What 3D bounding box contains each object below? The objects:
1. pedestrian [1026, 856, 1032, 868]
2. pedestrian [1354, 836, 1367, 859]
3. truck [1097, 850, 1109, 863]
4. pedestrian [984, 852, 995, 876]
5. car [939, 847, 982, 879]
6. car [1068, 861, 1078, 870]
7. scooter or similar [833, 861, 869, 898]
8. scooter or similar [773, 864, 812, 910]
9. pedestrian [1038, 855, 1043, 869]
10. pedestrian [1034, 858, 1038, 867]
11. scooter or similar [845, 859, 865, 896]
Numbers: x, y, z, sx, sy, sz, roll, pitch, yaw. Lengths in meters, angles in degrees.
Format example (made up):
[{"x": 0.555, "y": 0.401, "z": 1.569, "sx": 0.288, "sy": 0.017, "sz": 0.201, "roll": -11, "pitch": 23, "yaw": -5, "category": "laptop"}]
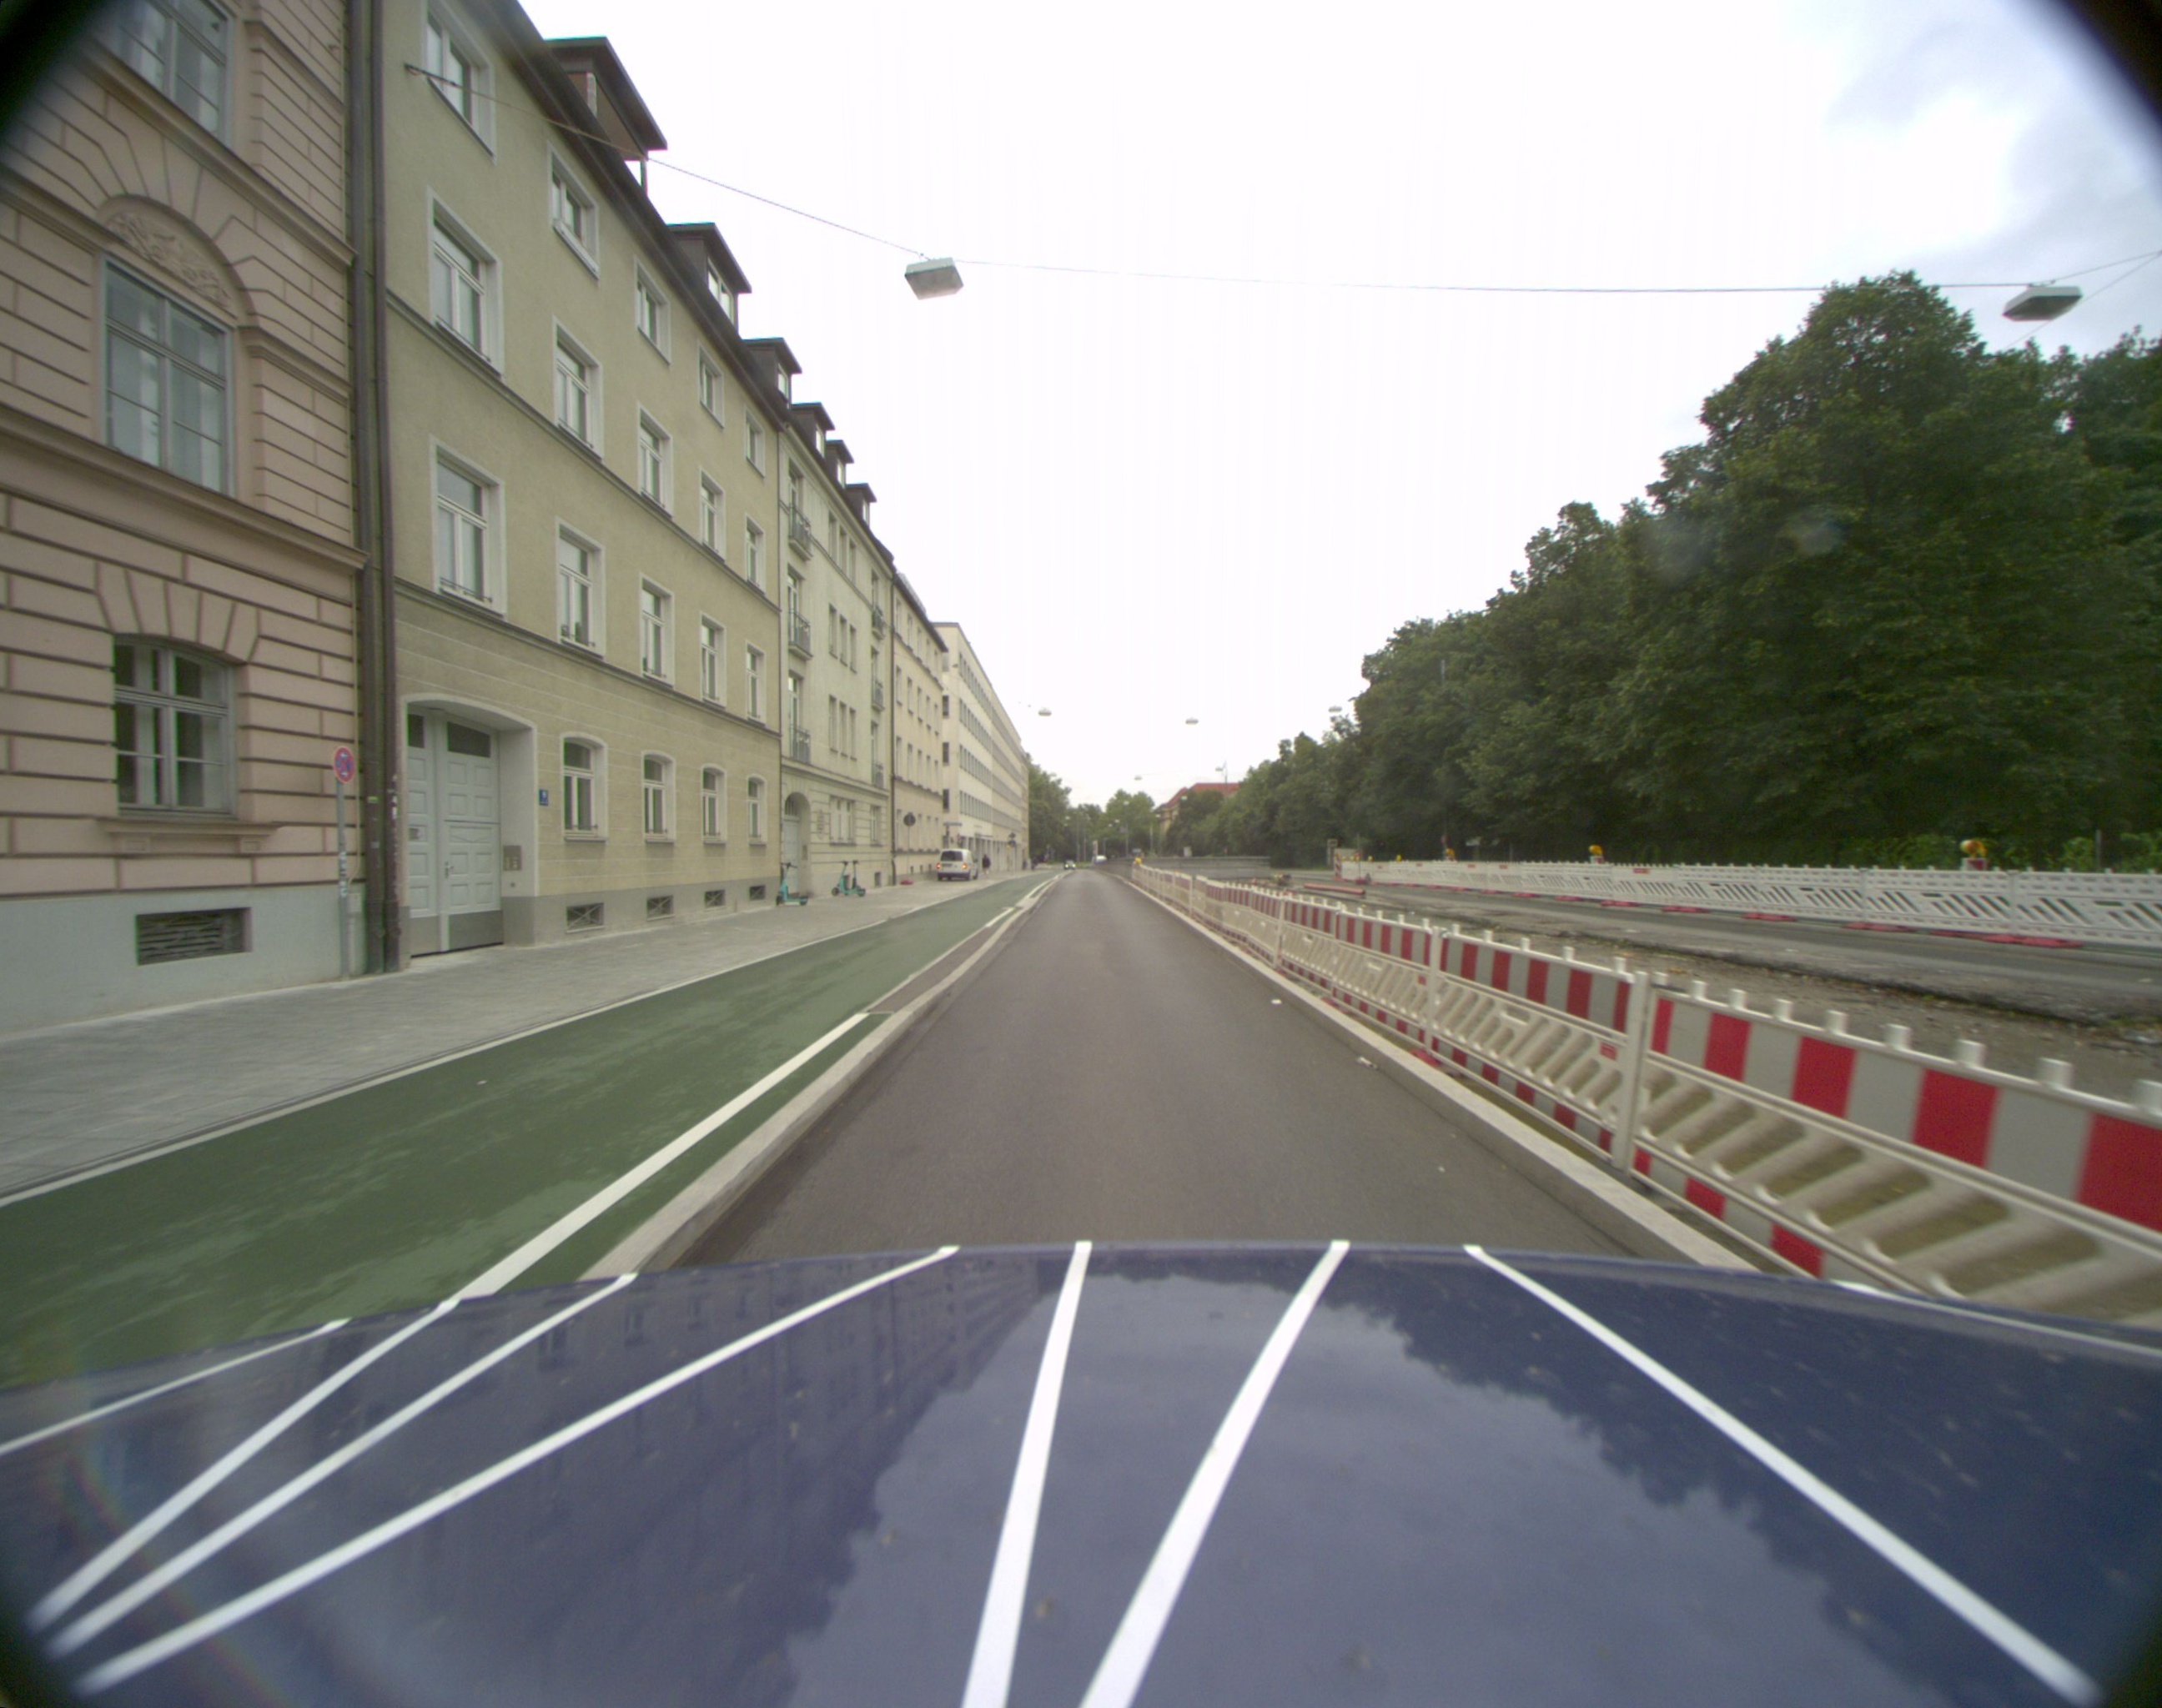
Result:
[{"x": -7.045, "y": 1.115, "z": 102.773, "sx": 0.754, "sy": 1.610, "sz": 0.704, "roll": 3, "pitch": 1, "yaw": 0, "category": "pedestrian"}, {"x": 19.954, "y": -0.435, "z": 54.313, "sx": 0.665, "sy": 1.631, "sz": 0.698, "roll": -1, "pitch": 1, "yaw": 1, "category": "pedestrian"}, {"x": 4.183, "y": 0.458, "z": 145.915, "sx": 2.058, "sy": 2.625, "sz": 4.411, "roll": 0, "pitch": 0, "yaw": -1, "category": "truck"}, {"x": -6.268, "y": 0.675, "z": 52.231, "sx": 0.666, "sy": 1.626, "sz": 0.737, "roll": 1, "pitch": 1, "yaw": 0, "category": "pedestrian"}, {"x": -6.906, "y": 0.504, "z": 43.874, "sx": 1.738, "sy": 1.739, "sz": 4.435, "roll": 0, "pitch": 0, "yaw": 0, "category": "car"}, {"x": -1.598, "y": 2.312, "z": 151.956, "sx": 1.999, "sy": 1.738, "sz": 3.999, "roll": -1, "pitch": 0, "yaw": -1, "category": "car"}, {"x": -7.877, "y": 0.876, "z": 26.039, "sx": 1.121, "sy": 1.224, "sz": 0.246, "roll": 1, "pitch": 2, "yaw": -33, "category": "scooter or similar"}, {"x": -8.048, "y": 0.897, "z": 21.209, "sx": 0.246, "sy": 1.224, "sz": 1.121, "roll": 2, "pitch": 1, "yaw": 26, "category": "scooter or similar"}, {"x": -5.460, "y": 1.030, "z": 101.721, "sx": 0.514, "sy": 1.825, "sz": 0.602, "roll": 3, "pitch": 1, "yaw": 0, "category": "pedestrian"}, {"x": -6.011, "y": 1.153, "z": 101.121, "sx": 0.368, "sy": 1.239, "sz": 0.470, "roll": 3, "pitch": 1, "yaw": 0, "category": "pedestrian"}, {"x": -8.078, "y": 0.834, "z": 27.195, "sx": 0.387, "sy": 1.265, "sz": 1.119, "roll": 1, "pitch": 1, "yaw": 0, "category": "scooter or similar"}]
